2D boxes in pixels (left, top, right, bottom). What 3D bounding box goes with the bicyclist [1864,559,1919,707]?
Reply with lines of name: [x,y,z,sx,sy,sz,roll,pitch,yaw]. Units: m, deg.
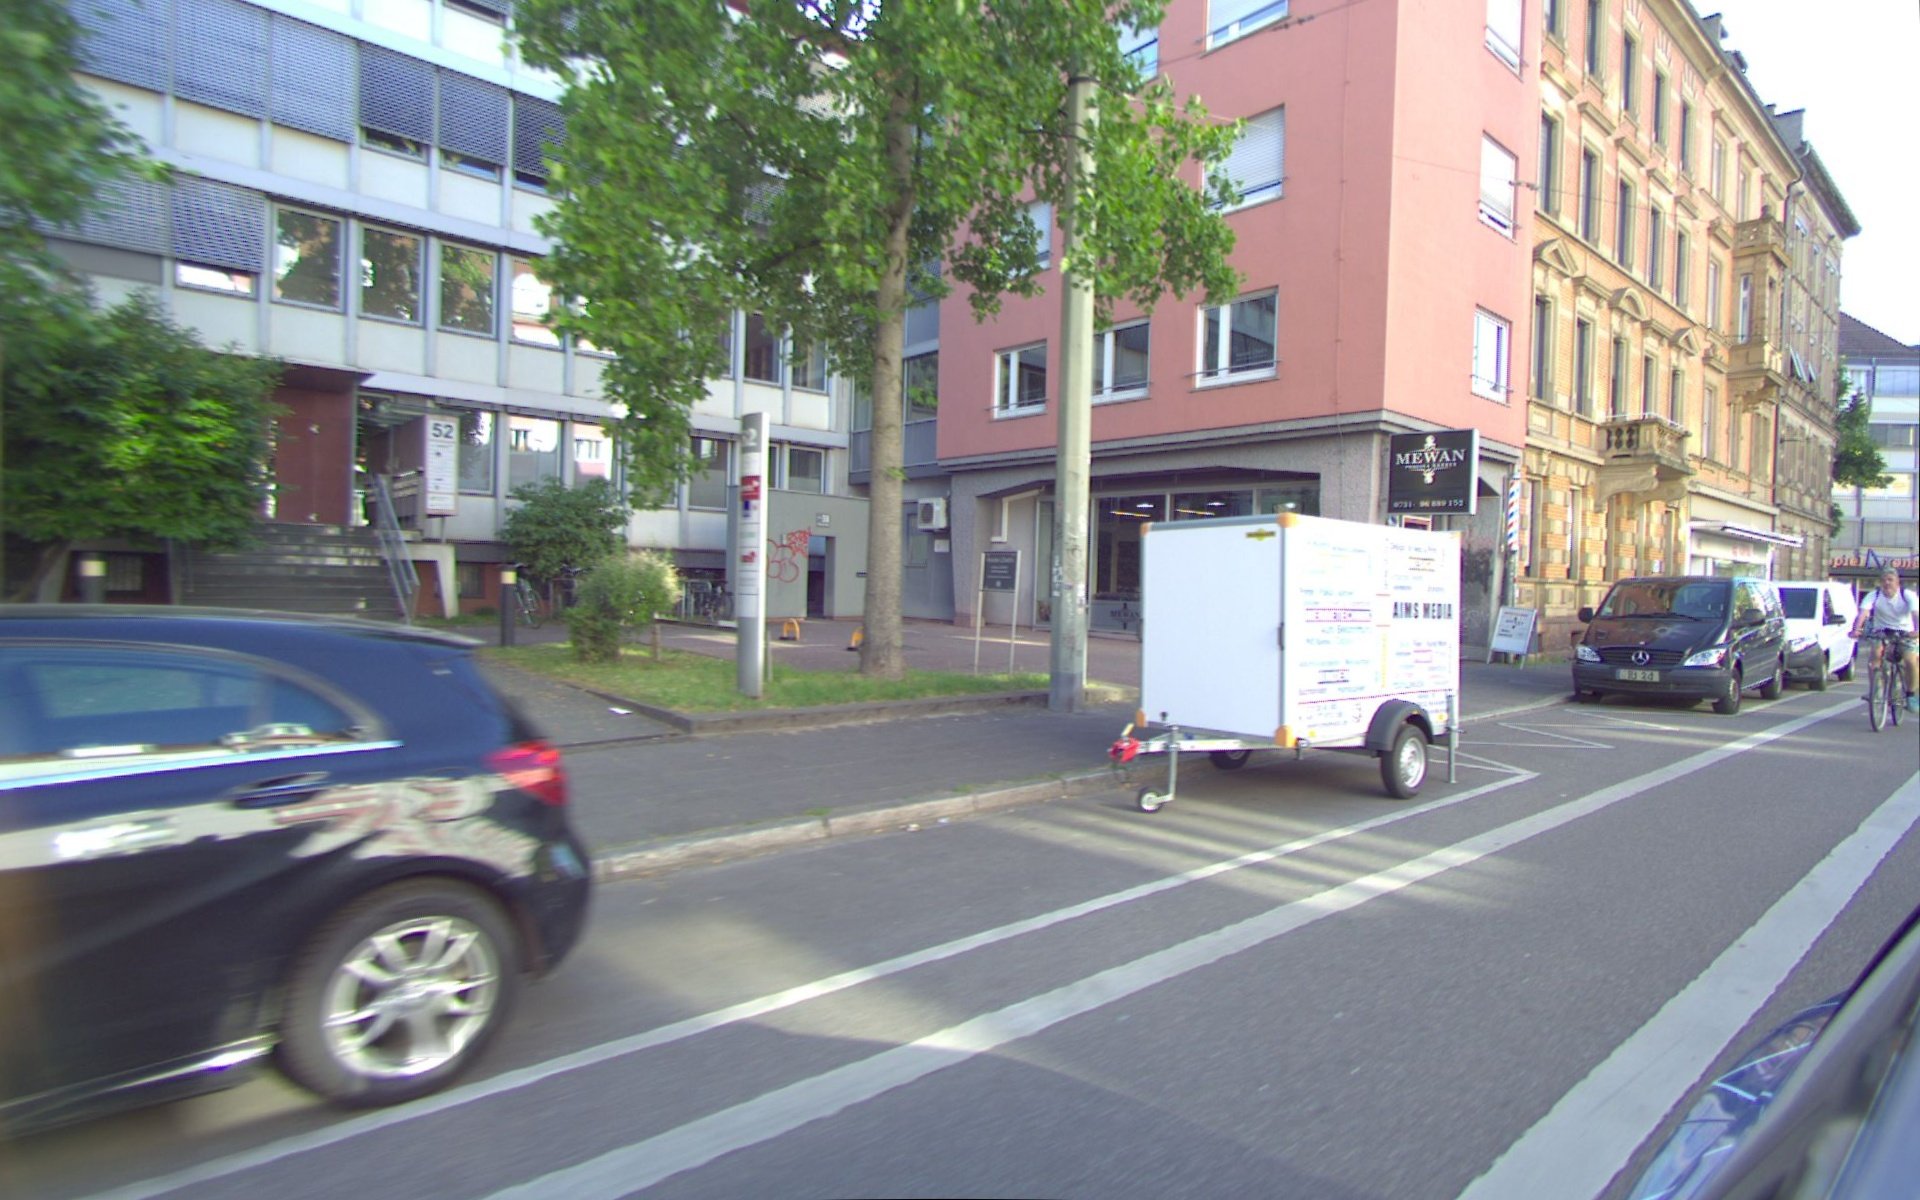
bicyclist: [11.201,0.375,11.968,0.912,1.676,0.655,1,1,-44]

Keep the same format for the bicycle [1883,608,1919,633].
bicycle: [45.452,0.984,48.360,0.588,1.107,1.942,1,2,-42]

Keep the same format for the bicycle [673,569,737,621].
bicycle: [-5.447,-0.127,21.594,1.582,0.974,0.443,6,3,39]

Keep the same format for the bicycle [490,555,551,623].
bicycle: [-8.167,-0.224,18.775,1.584,1.128,0.442,6,4,44]

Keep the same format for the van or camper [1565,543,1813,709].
van or camper: [11.002,0.324,15.100,5.240,2.071,1.973,1,0,-43]

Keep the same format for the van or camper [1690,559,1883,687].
van or camper: [15.528,0.350,18.892,5.380,2.062,1.934,0,1,-42]

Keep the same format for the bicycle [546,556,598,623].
bicycle: [-7.407,-0.213,19.280,0.441,1.138,1.588,2,3,-38]

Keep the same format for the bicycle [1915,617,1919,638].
bicycle: [53.278,1.565,54.958,0.554,1.120,1.949,1,2,-42]

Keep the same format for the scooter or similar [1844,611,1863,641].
scooter or similar: [41.219,1.185,46.682,0.389,1.305,1.504,3,1,33]

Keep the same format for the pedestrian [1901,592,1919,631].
pedestrian: [45.460,0.568,48.407,0.926,1.845,0.593,1,0,-42]

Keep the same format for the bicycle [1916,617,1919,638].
bicycle: [53.736,1.568,55.401,0.554,1.120,1.949,1,2,-42]

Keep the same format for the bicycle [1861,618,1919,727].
bicycle: [11.214,0.818,11.961,2.060,1.153,0.648,1,1,-43]

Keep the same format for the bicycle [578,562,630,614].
bicycle: [-6.965,-0.241,19.773,0.441,0.886,1.588,1,4,-38]

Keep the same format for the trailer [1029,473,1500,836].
trailer: [2.487,0.316,7.833,3.773,2.143,1.664,1,0,-40]

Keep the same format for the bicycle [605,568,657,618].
bicycle: [-6.608,-0.154,20.280,0.441,0.886,1.588,1,4,-38]

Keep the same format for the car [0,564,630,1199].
car: [-3.237,0.639,2.511,4.250,1.453,1.805,0,0,-42]
